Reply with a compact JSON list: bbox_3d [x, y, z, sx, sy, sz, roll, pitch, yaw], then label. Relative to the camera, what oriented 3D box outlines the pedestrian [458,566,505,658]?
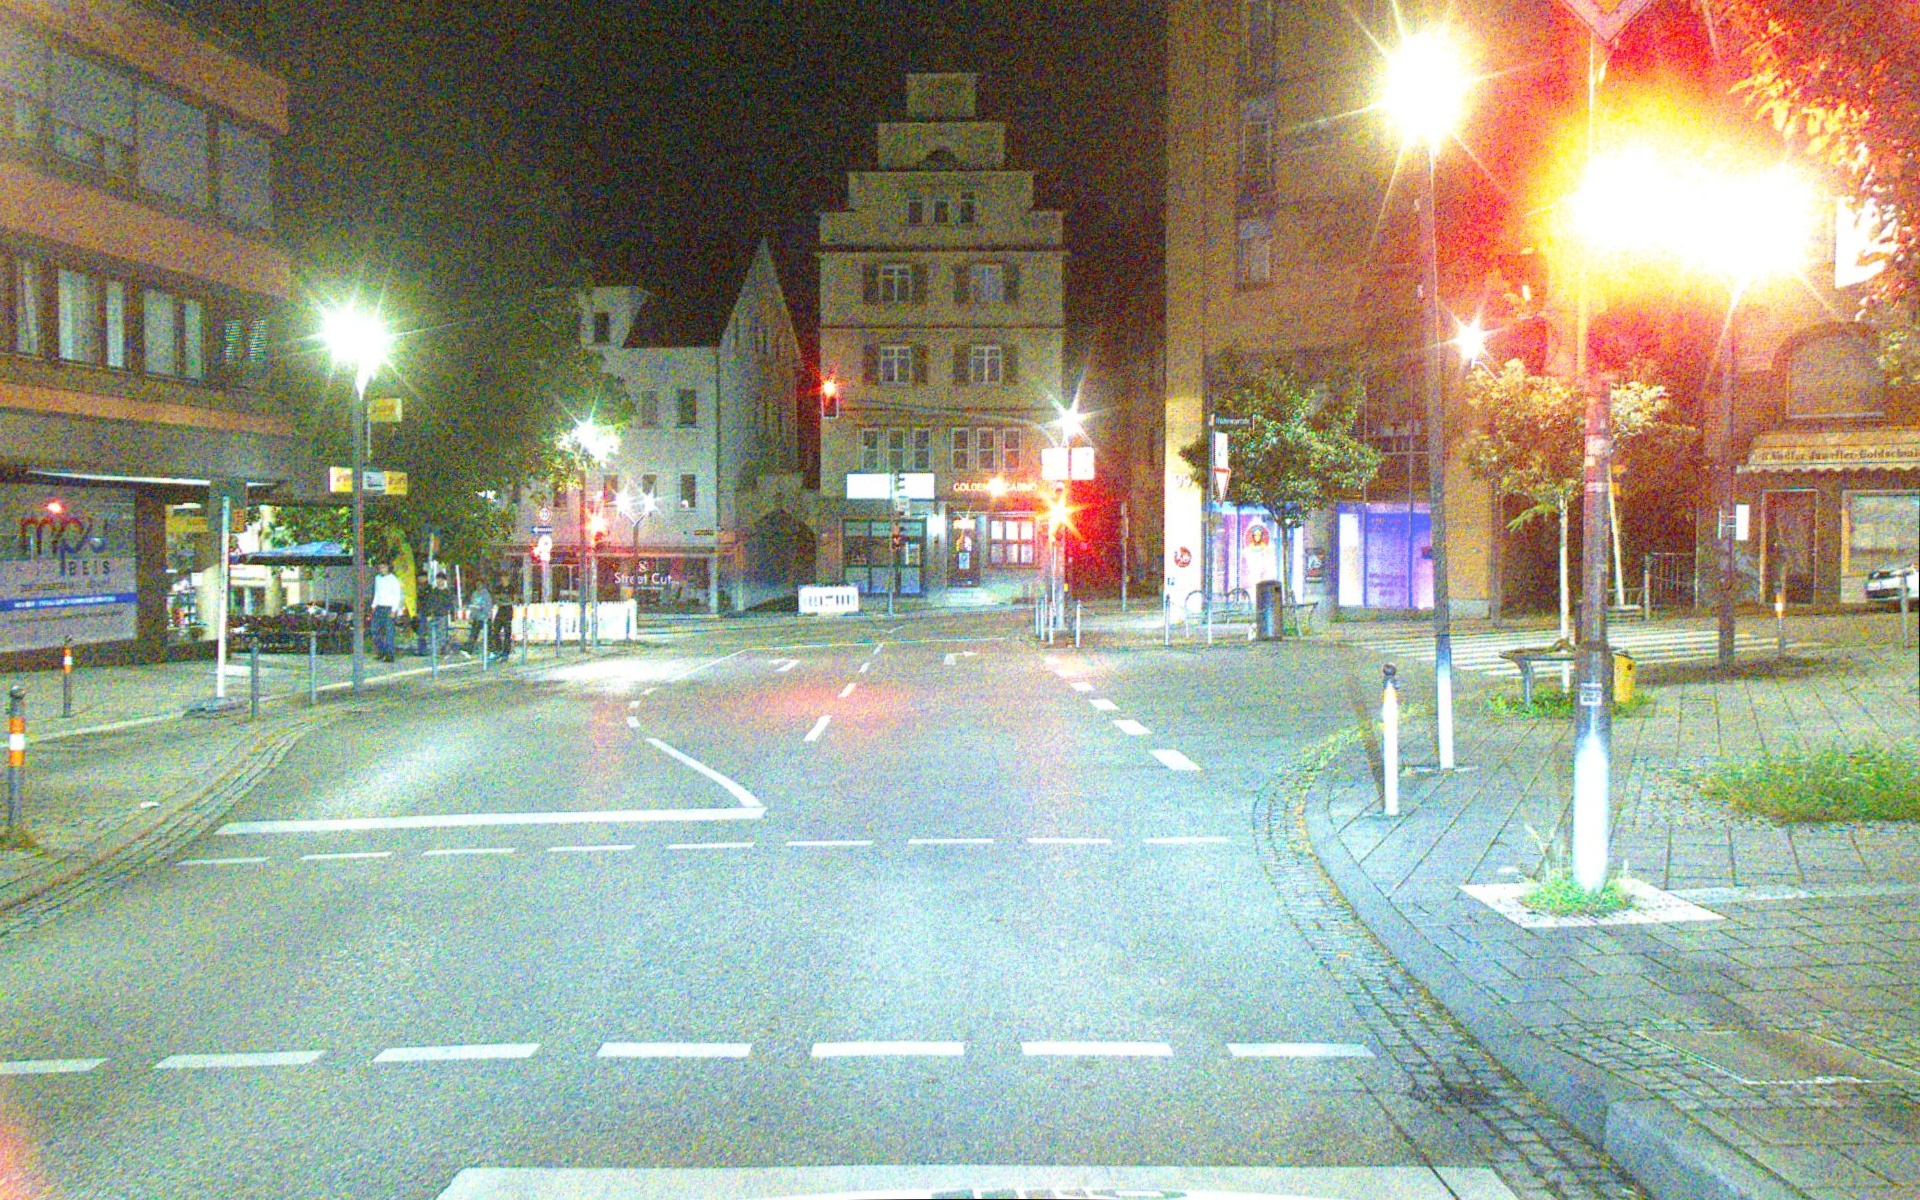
[{"bbox_3d":[-9.566,0.242,33.060,0.701,1.827,0.570,1,-1,6],"label":"pedestrian"}]

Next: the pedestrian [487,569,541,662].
[{"bbox_3d":[-8.871,0.308,32.890,0.701,1.827,0.737,0,-1,21],"label":"pedestrian"}]

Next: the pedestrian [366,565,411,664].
[{"bbox_3d":[-10.736,0.270,31.063,0.703,1.827,0.567,1,-1,-13],"label":"pedestrian"}]

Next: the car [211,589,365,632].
[{"bbox_3d":[-21.929,0.348,54.099,4.329,1.320,1.640,1,-1,-3],"label":"car"}]

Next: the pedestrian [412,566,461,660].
[{"bbox_3d":[-10.306,0.253,32.568,0.701,1.827,0.570,1,-1,6],"label":"pedestrian"}]

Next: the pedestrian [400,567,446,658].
[{"bbox_3d":[-10.953,0.252,33.751,0.701,1.827,0.570,1,-1,6],"label":"pedestrian"}]

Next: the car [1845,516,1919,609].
[{"bbox_3d":[17.160,-0.714,27.419,3.956,1.478,1.827,-3,1,6],"label":"car"}]
